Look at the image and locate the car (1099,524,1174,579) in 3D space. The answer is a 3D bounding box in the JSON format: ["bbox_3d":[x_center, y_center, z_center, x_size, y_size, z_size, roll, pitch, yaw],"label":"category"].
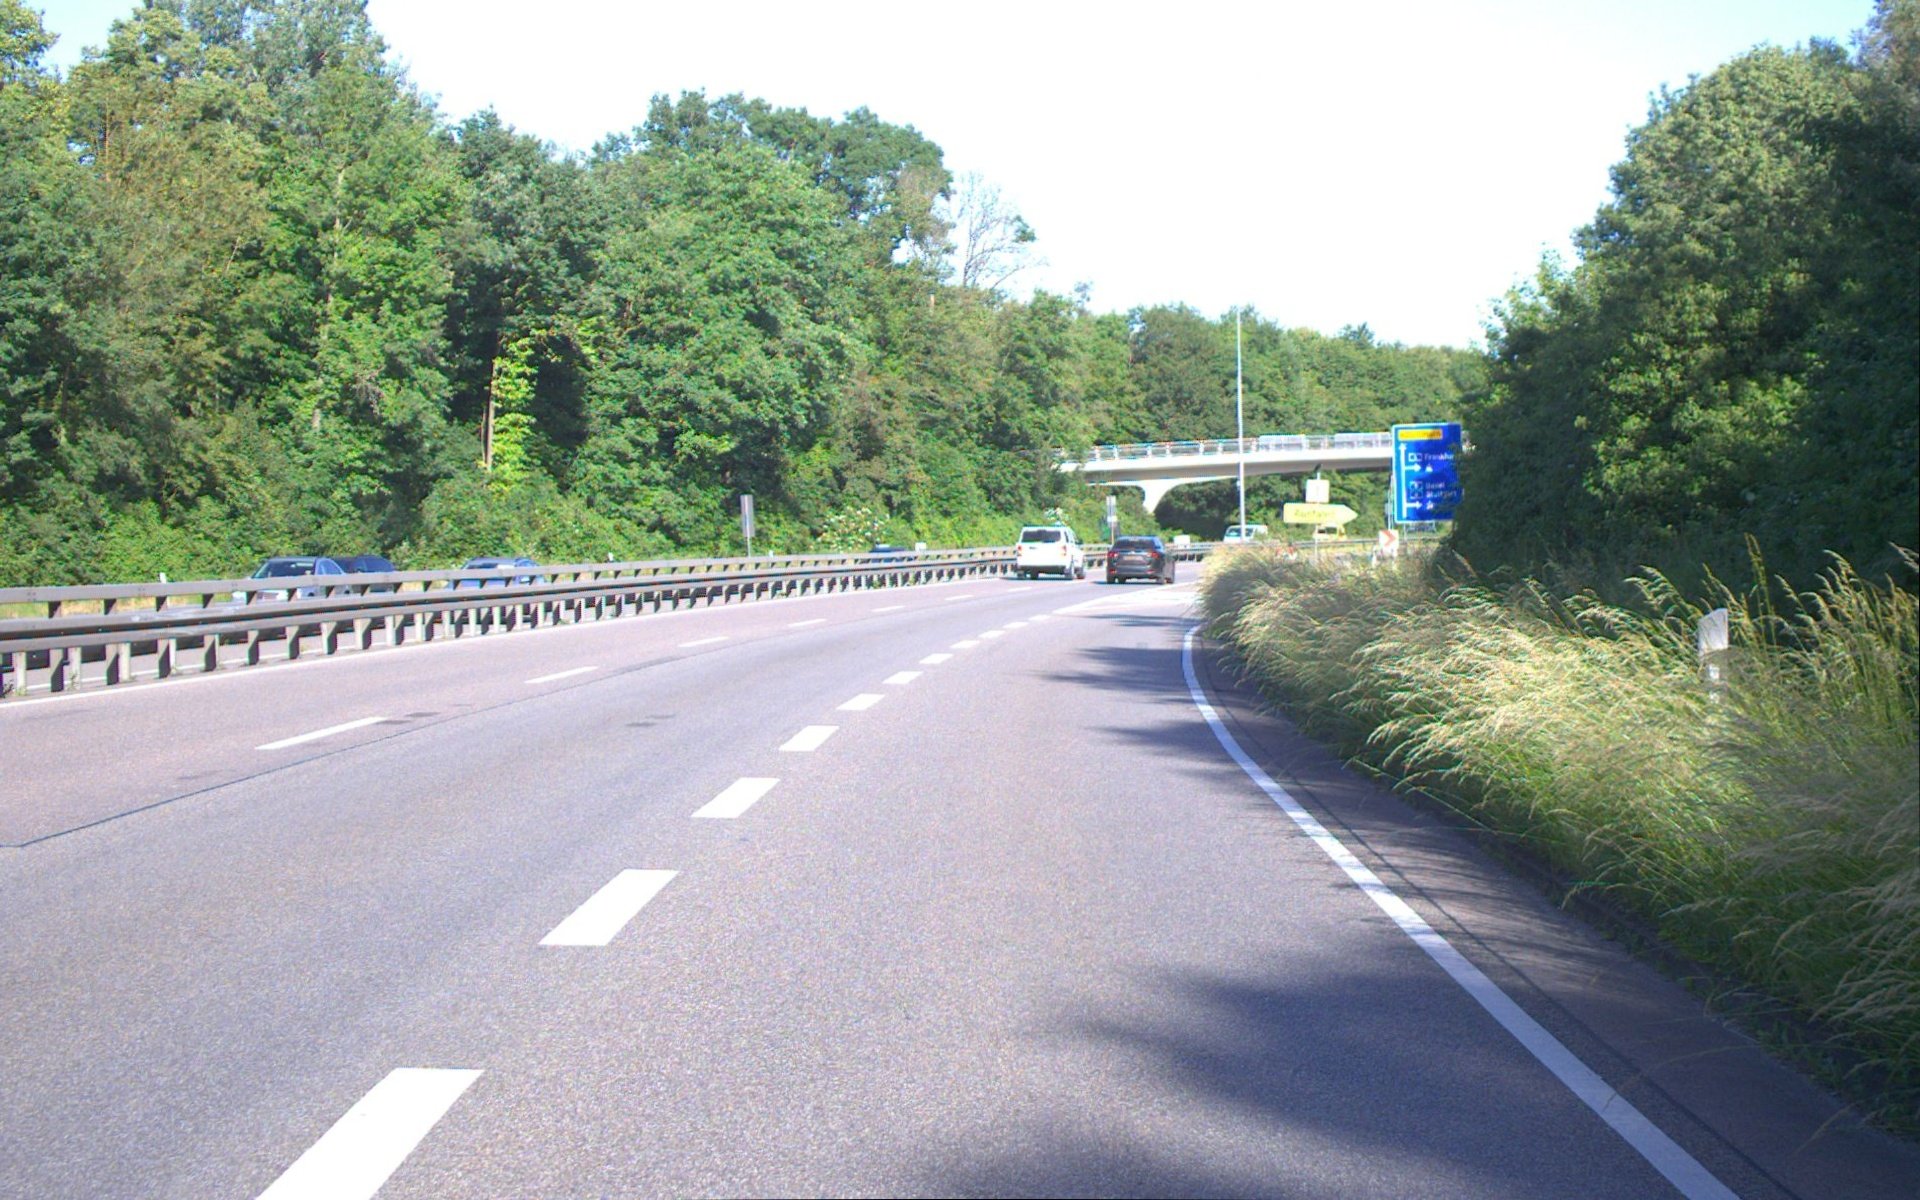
[{"bbox_3d":[5.510,-1.512,107.059,1.740,1.656,3.944,0,1,12],"label":"car"}]

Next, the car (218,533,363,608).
[{"bbox_3d":[-15.047,-0.689,77.487,1.994,1.644,4.422,0,1,6],"label":"car"}]

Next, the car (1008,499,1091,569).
[{"bbox_3d":[3.001,-2.196,114.461,1.995,2.270,3.998,0,1,13],"label":"car"}]
